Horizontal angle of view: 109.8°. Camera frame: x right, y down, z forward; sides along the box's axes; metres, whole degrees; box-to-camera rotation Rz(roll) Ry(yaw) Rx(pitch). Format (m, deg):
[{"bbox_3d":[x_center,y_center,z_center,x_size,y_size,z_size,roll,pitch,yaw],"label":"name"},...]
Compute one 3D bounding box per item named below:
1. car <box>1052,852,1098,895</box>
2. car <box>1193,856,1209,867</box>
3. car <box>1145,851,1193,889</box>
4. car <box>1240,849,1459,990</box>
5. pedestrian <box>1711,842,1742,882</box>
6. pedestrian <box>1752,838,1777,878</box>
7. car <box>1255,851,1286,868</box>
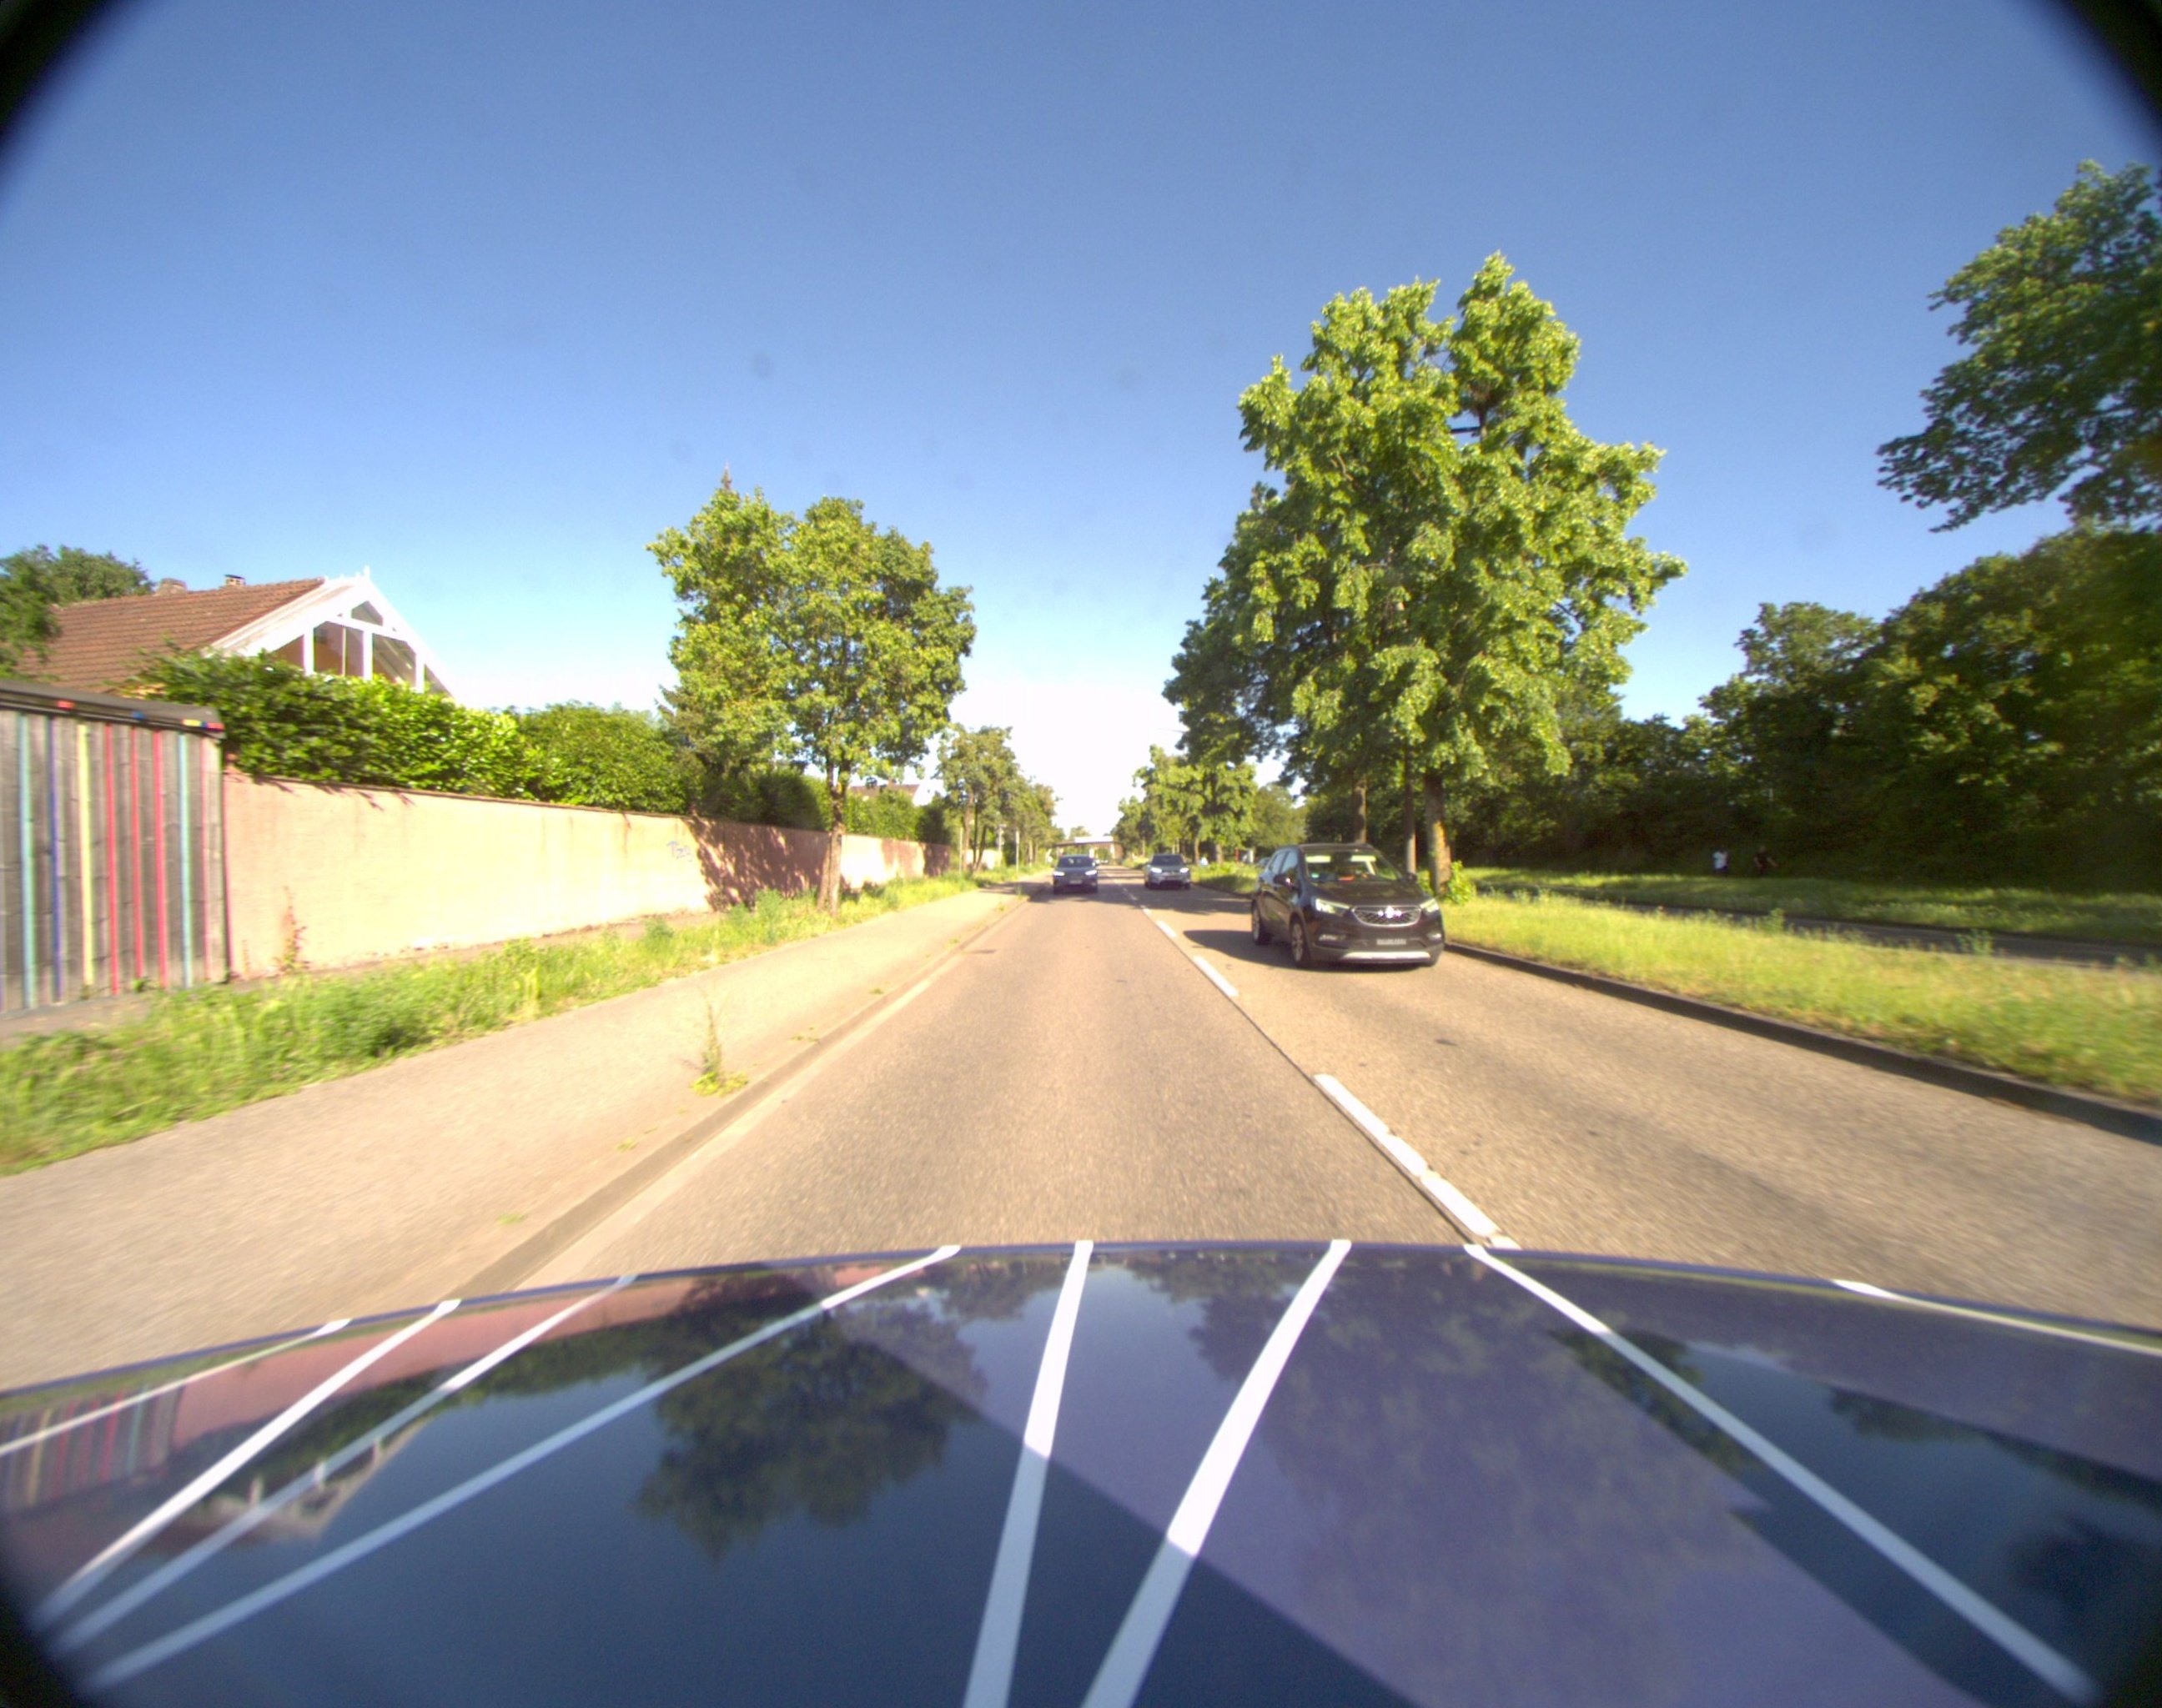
[{"bbox_3d":[-0.217,0.772,32.410,1.766,1.606,4.297,-2,1,1],"label":"car"},{"bbox_3d":[17.527,1.049,111.105,1.733,1.569,3.747,2,0,1],"label":"car"},{"bbox_3d":[3.918,0.684,34.421,1.789,1.600,4.106,0,1,1],"label":"car"},{"bbox_3d":[3.615,0.761,11.135,1.700,1.622,4.417,-1,1,1],"label":"car"},{"bbox_3d":[27.206,0.325,32.026,0.683,1.650,0.679,-3,1,-3],"label":"pedestrian"},{"bbox_3d":[28.778,0.150,31.990,0.561,1.650,0.540,-2,1,-4],"label":"pedestrian"},{"bbox_3d":[16.684,0.472,67.086,1.730,1.448,4.346,2,0,1],"label":"car"}]
